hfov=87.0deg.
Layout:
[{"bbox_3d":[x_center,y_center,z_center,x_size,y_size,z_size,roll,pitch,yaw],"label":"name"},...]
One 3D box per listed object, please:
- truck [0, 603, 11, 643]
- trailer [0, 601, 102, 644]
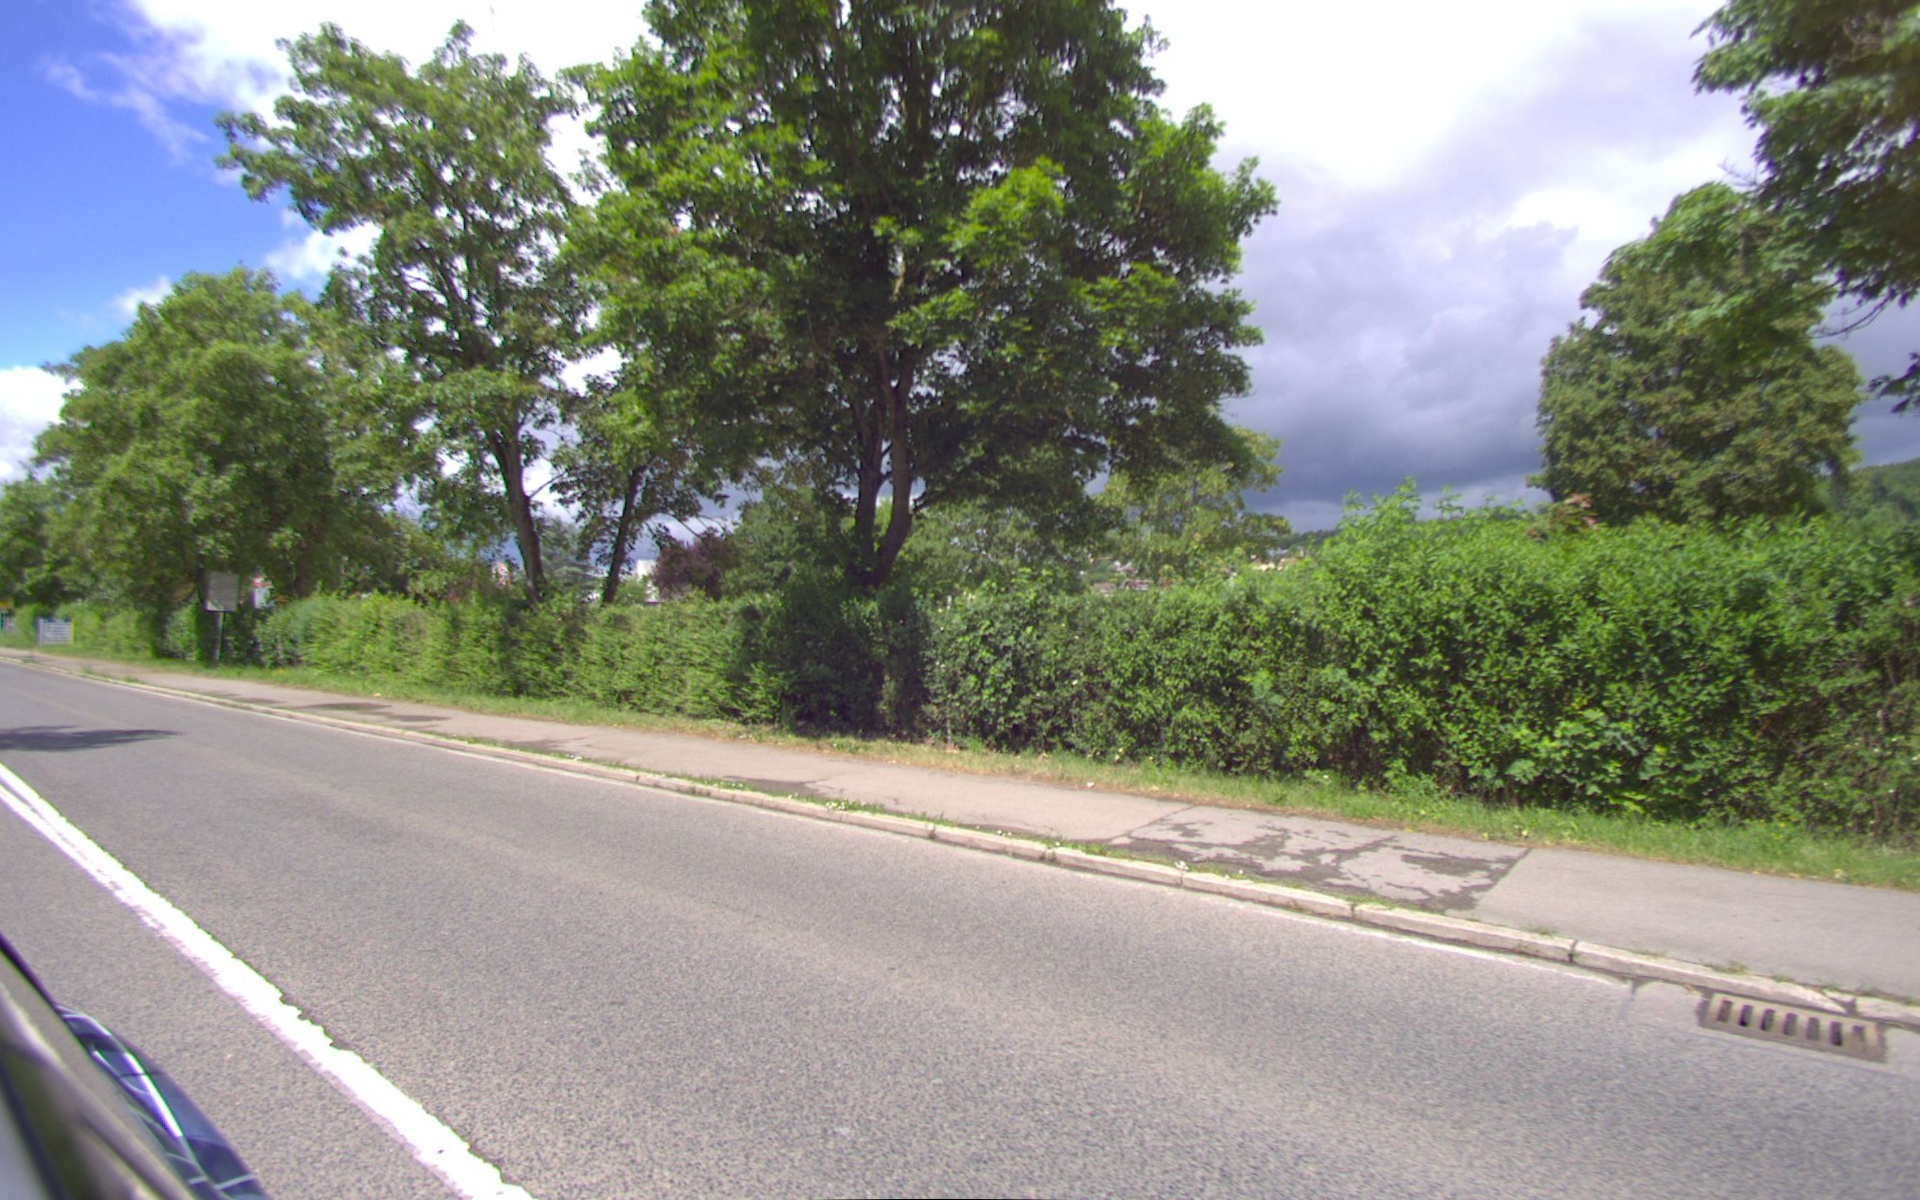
[{"bbox_3d":[-94.333,2.173,96.247,2.979,3.853,5.504,-1,-2,36],"label":"truck"},{"bbox_3d":[-91.881,2.245,100.723,3.301,4.114,9.385,0,-2,25],"label":"trailer"}]
